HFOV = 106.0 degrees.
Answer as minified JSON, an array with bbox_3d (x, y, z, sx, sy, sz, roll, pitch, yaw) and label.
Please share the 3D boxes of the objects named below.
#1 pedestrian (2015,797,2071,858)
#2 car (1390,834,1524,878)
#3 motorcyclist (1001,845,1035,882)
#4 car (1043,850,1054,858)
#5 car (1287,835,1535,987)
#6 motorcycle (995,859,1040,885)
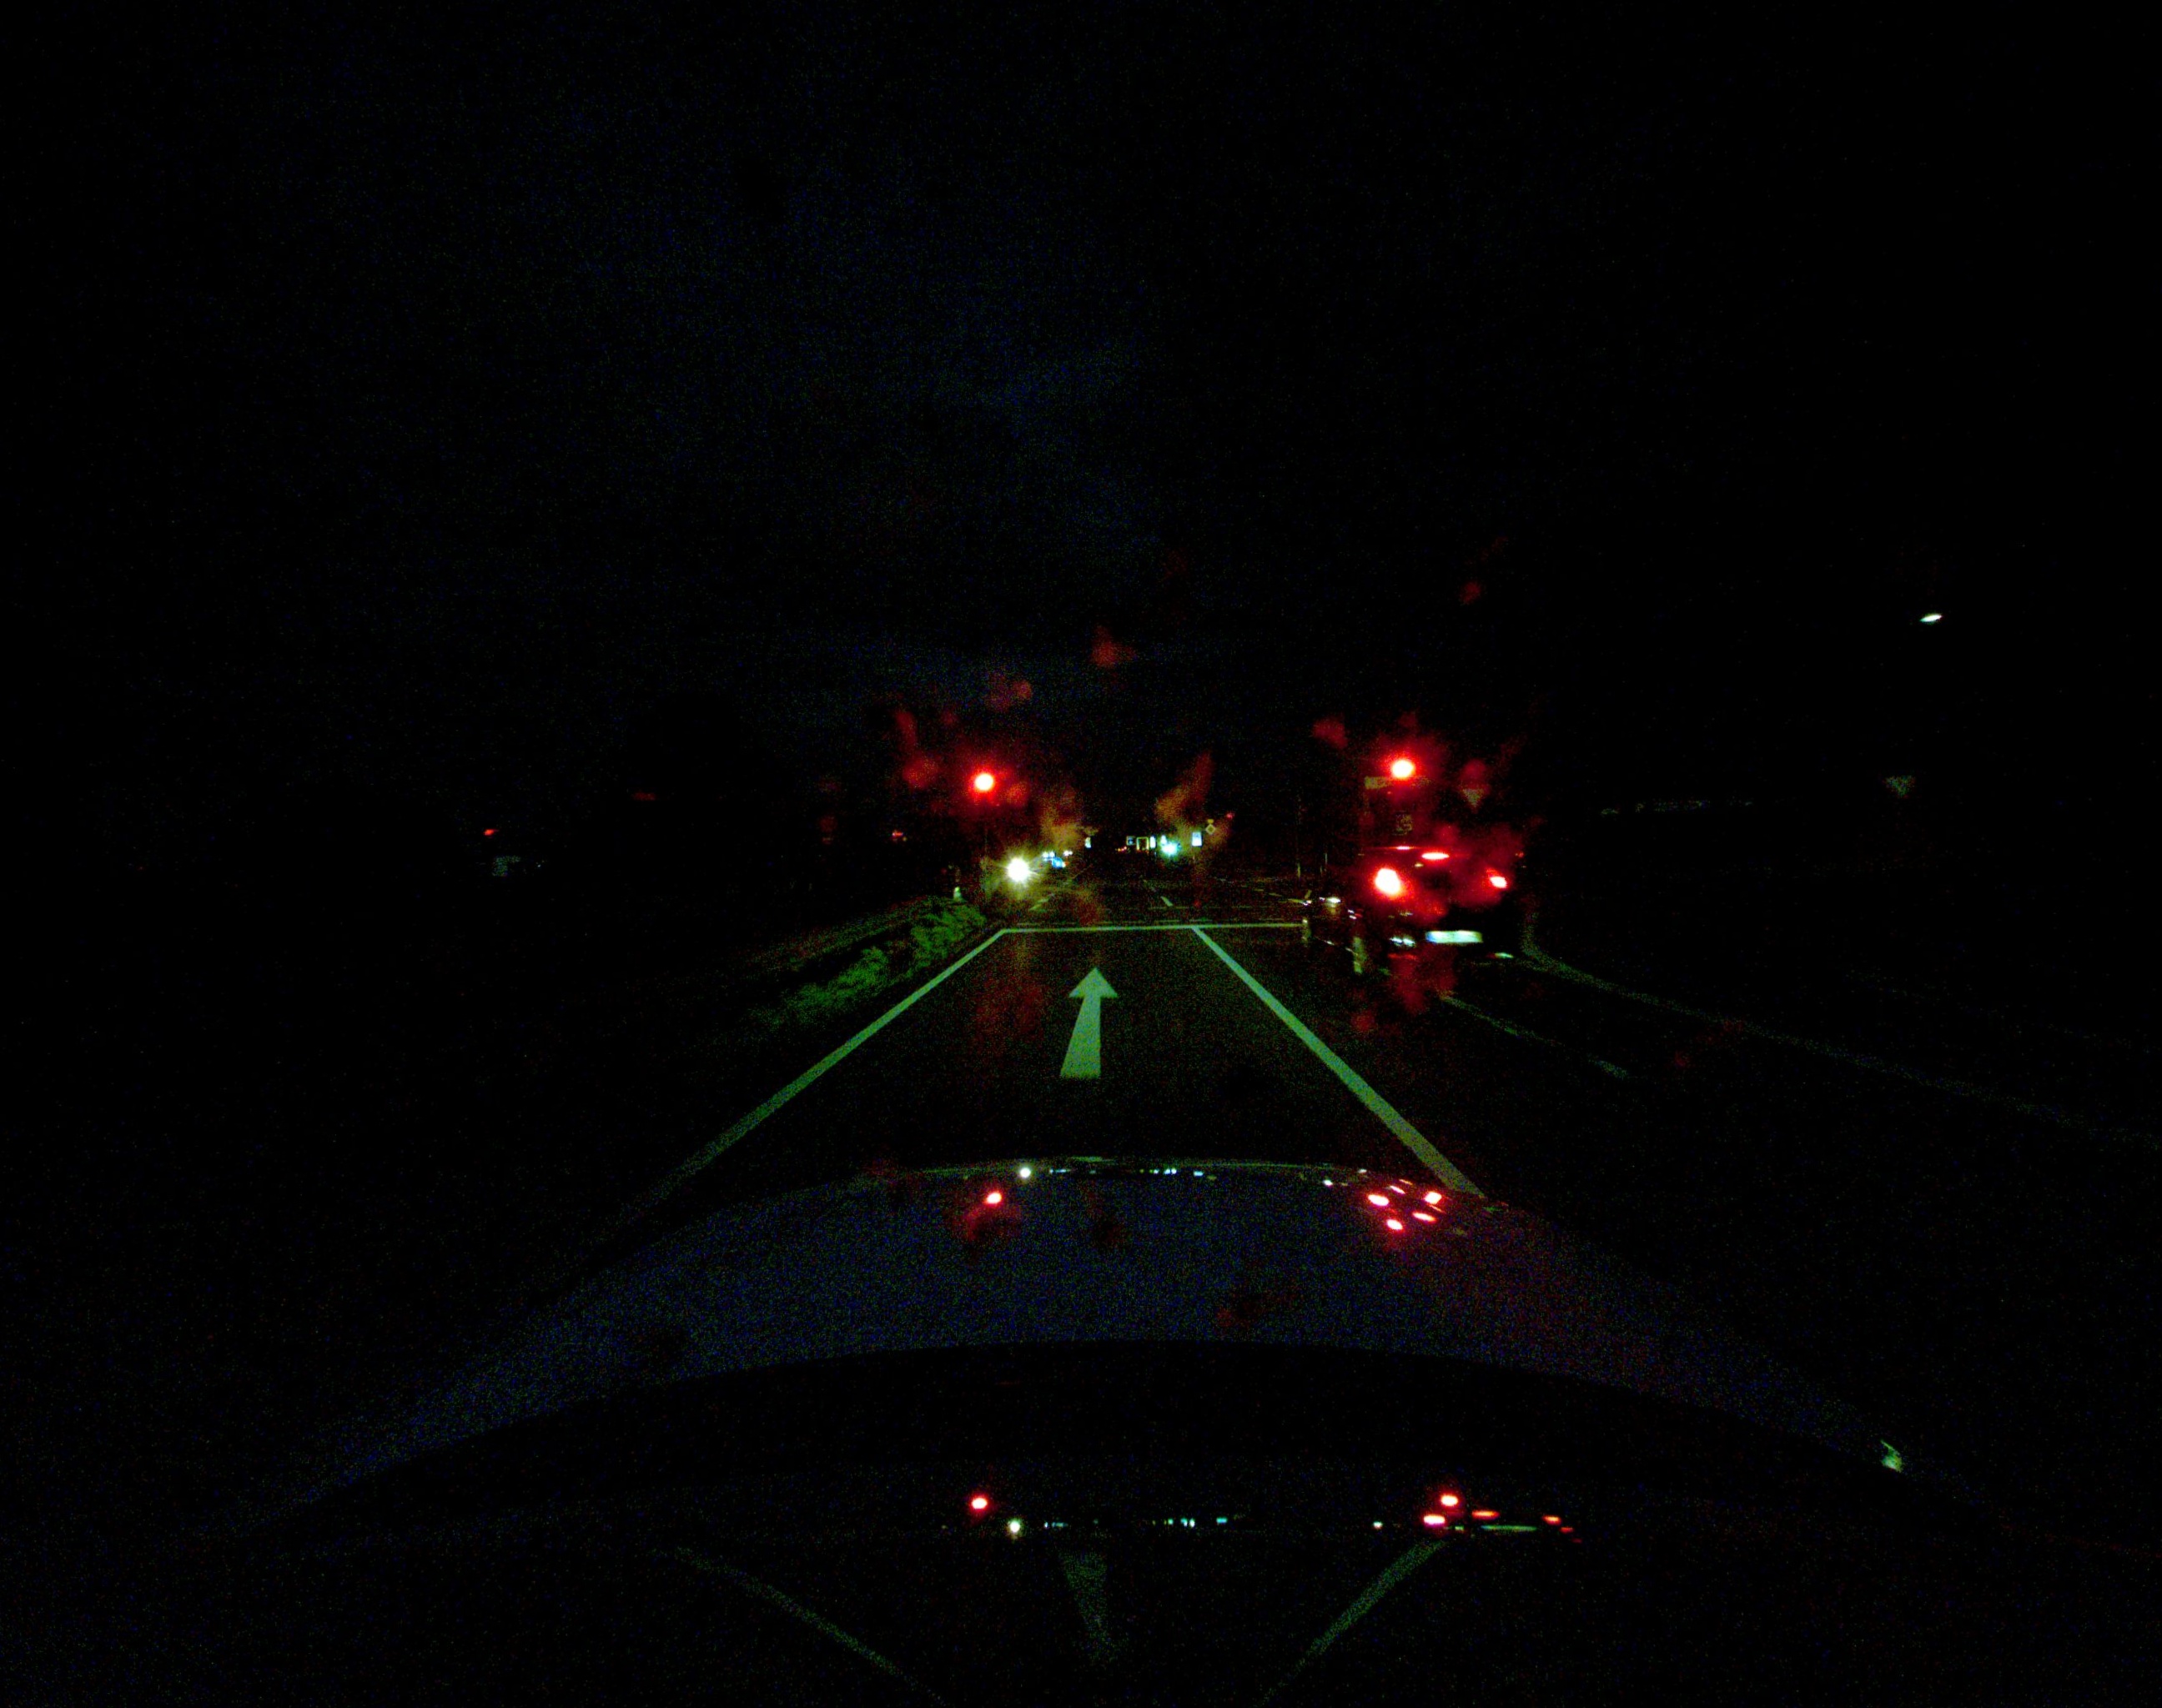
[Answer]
[{"bbox_3d":[30.290,-0.817,25.647,0.732,1.835,0.870,-3,-2,-25],"label":"pedestrian"},{"bbox_3d":[15.473,0.071,33.680,4.583,1.520,2.001,-3,0,2],"label":"car"},{"bbox_3d":[-2.774,0.412,35.761,1.144,1.584,0.963,-3,0,-30],"label":"motorcyclist"},{"bbox_3d":[-6.717,0.052,167.604,1.986,1.519,4.299,-2,0,2],"label":"car"},{"bbox_3d":[3.874,0.570,10.336,1.663,1.520,4.109,-1,0,3],"label":"car"},{"bbox_3d":[-2.815,0.782,35.831,0.985,1.098,2.484,-3,1,-30],"label":"motorcycle"}]
